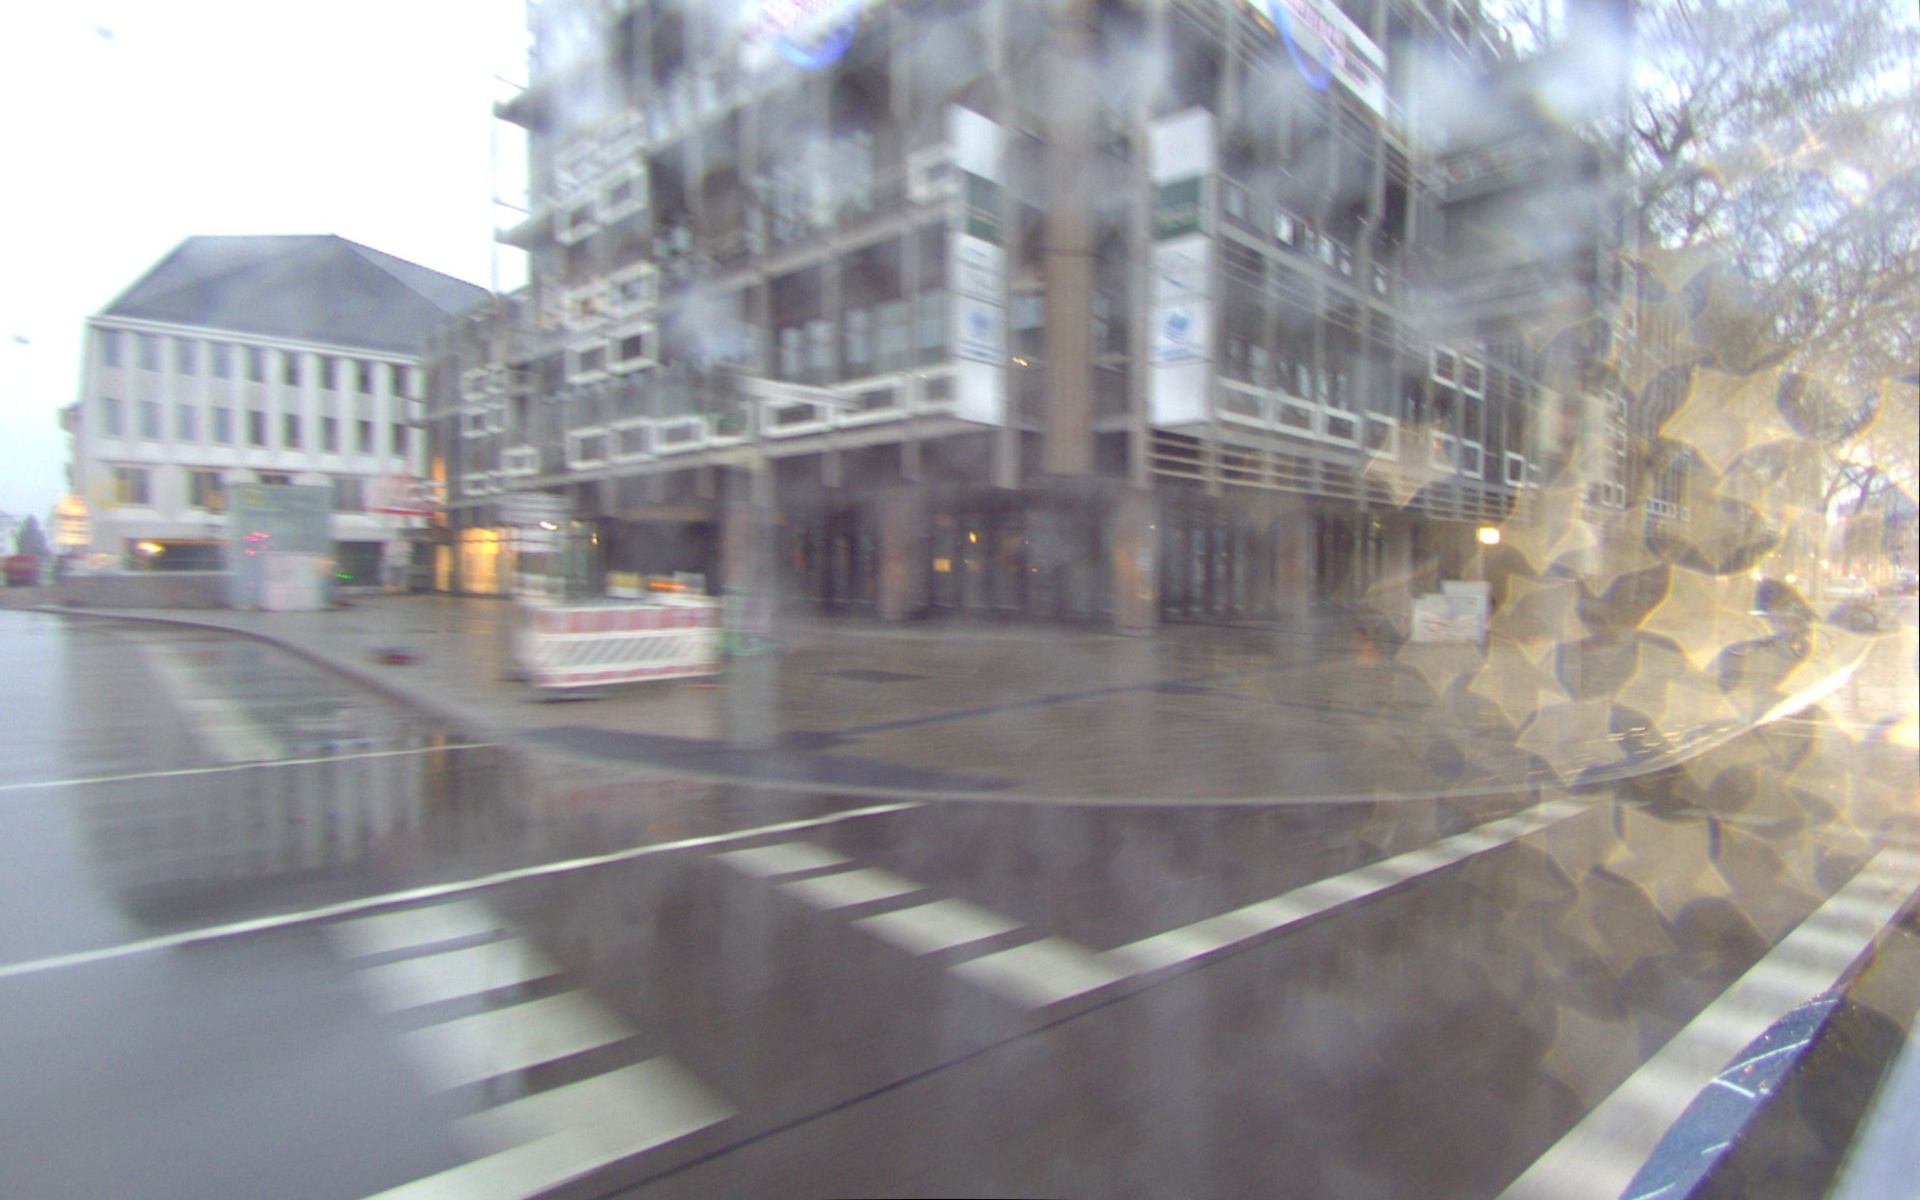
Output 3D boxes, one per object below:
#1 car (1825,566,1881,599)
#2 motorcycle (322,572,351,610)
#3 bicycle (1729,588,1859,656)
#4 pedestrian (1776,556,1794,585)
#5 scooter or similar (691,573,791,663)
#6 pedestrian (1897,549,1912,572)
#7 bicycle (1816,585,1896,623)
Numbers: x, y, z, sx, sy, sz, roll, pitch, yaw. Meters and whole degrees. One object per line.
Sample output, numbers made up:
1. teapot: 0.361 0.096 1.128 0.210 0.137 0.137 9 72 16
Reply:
1. car: 43.680 -0.866 49.483 3.934 1.482 1.710 -2 2 -43
2. motorcycle: -22.941 -0.313 37.214 0.585 1.370 1.490 -1 0 -45
3. bicycle: 15.797 0.396 19.206 0.629 1.145 1.809 1 3 -43
4. pedestrian: 50.060 -1.808 61.417 0.764 1.771 0.914 2 3 42
5. scooter or similar: -3.479 0.256 16.146 1.470 1.370 0.593 -1 0 -43
6. pedestrian: 74.274 -3.113 79.589 0.764 1.771 0.914 2 3 42
7. bicycle: 27.052 0.101 30.567 0.865 1.004 1.702 -2 4 -43
